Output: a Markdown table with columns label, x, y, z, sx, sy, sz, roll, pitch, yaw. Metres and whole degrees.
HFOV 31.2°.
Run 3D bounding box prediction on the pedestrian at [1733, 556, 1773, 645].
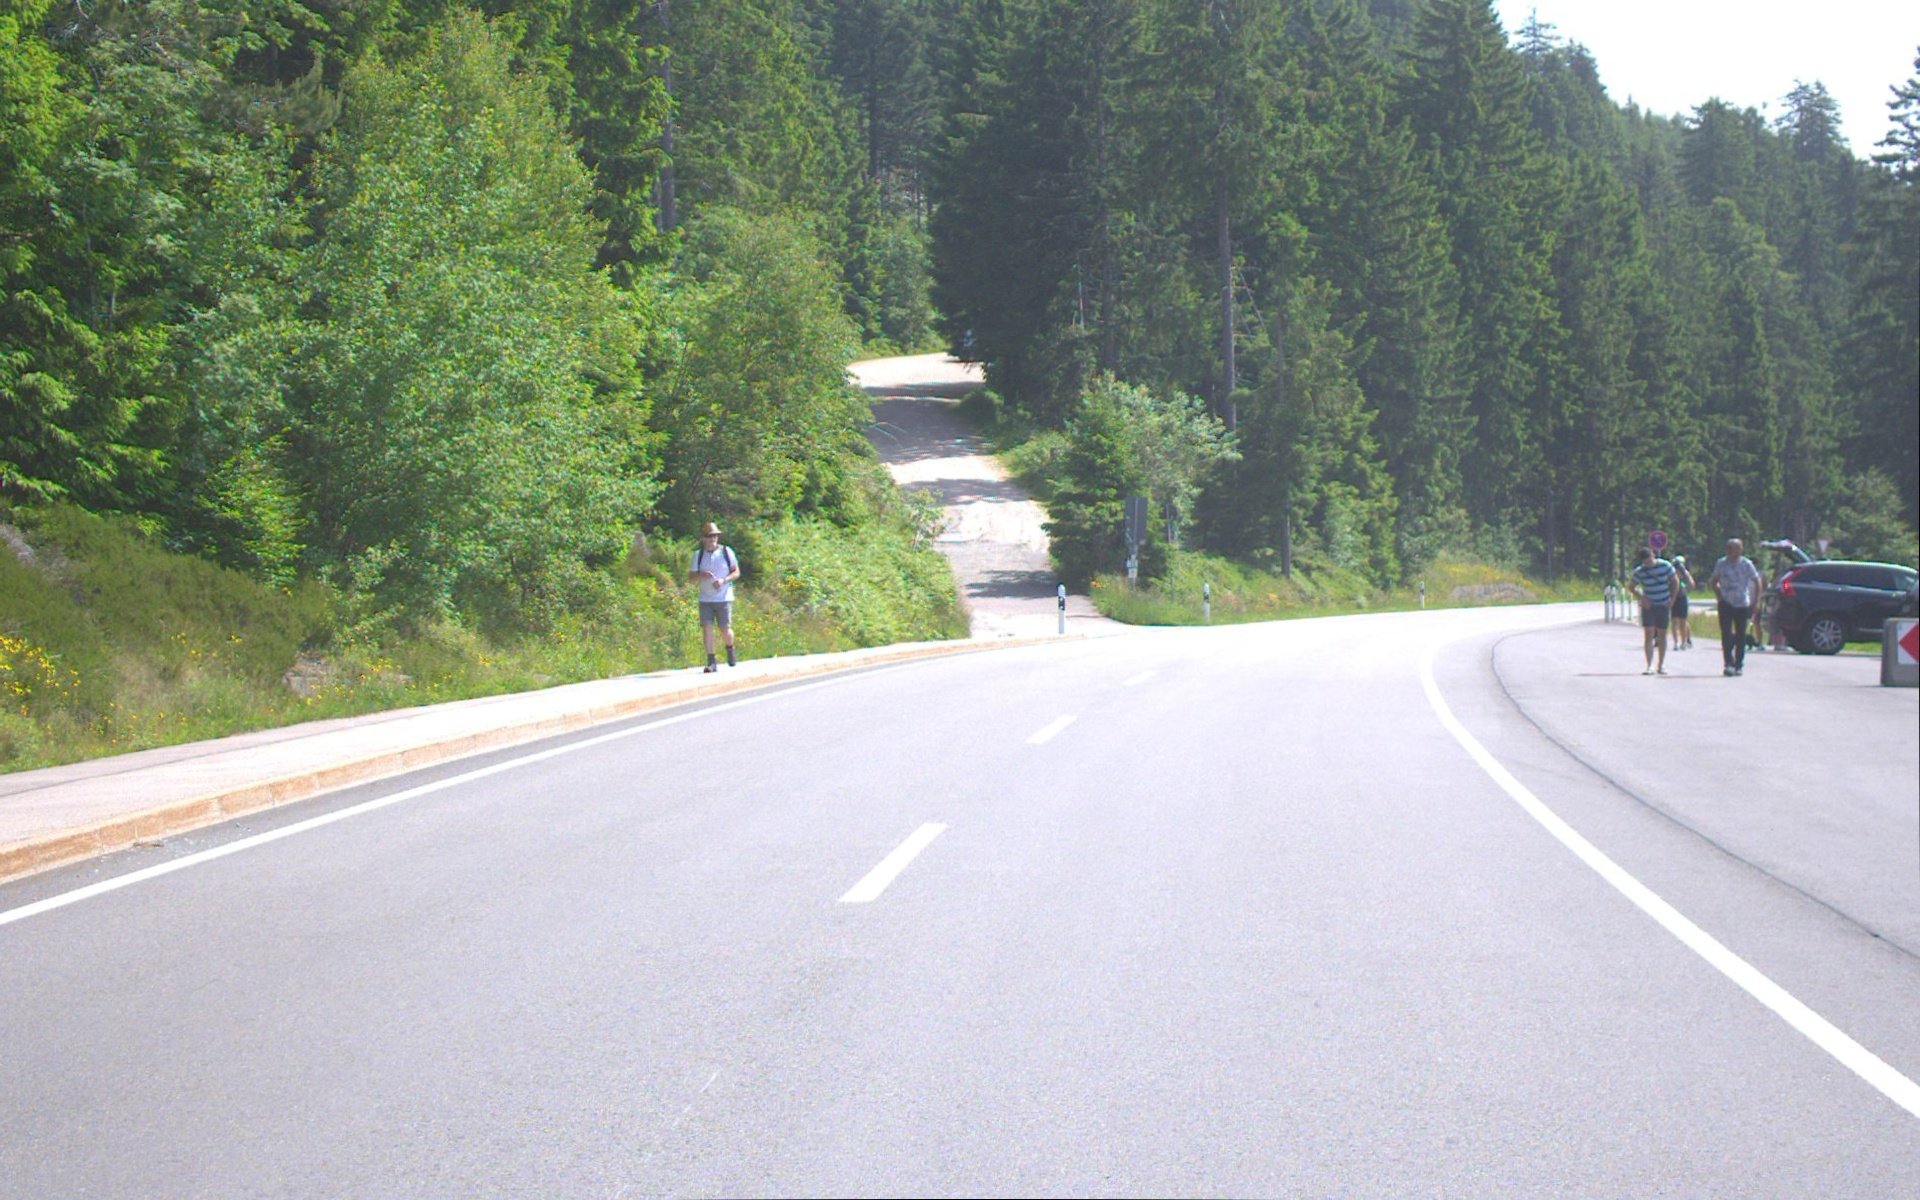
| label | x | y | z | sx | sy | sz | roll | pitch | yaw |
| --- | --- | --- | --- | --- | --- | --- | --- | --- | --- |
| pedestrian | 14.931 | 0.005 | 64.716 | 0.653 | 1.654 | 0.687 | 0 | 2 | 19 |

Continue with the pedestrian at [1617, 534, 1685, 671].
| label | x | y | z | sx | sy | sz | roll | pitch | yaw |
| --- | --- | --- | --- | --- | --- | --- | --- | --- | --- |
| pedestrian | 8.941 | 0.020 | 44.468 | 0.754 | 1.754 | 0.774 | 0 | 1 | 20 |

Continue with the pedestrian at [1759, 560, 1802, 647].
| label | x | y | z | sx | sy | sz | roll | pitch | yaw |
| --- | --- | --- | --- | --- | --- | --- | --- | --- | --- |
| pedestrian | 15.170 | 0.063 | 63.530 | 0.618 | 1.582 | 0.734 | 0 | 2 | 26 |

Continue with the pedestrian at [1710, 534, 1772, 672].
| label | x | y | z | sx | sy | sz | roll | pitch | yaw |
| --- | --- | --- | --- | --- | --- | --- | --- | --- | --- |
| pedestrian | 10.006 | 0.028 | 44.011 | 0.665 | 1.735 | 0.893 | 0 | 1 | 20 |

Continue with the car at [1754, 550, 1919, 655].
| label | x | y | z | sx | sy | sz | roll | pitch | yaw |
| --- | --- | --- | --- | --- | --- | --- | --- | --- | --- |
| car | 16.400 | 0.047 | 60.906 | 4.264 | 1.787 | 1.892 | 1 | 1 | 4 |

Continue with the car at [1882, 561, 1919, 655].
| label | x | y | z | sx | sy | sz | roll | pitch | yaw |
| --- | --- | --- | --- | --- | --- | --- | --- | --- | --- |
| car | 17.639 | 0.153 | 57.906 | 3.752 | 1.562 | 1.600 | 1 | 1 | 1 |

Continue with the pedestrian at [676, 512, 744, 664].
| label | x | y | z | sx | sy | sz | roll | pitch | yaw |
| --- | --- | --- | --- | --- | --- | --- | --- | --- | --- |
| pedestrian | -2.906 | -0.142 | 40.000 | 0.682 | 1.740 | 0.825 | 1 | 1 | 2 |
